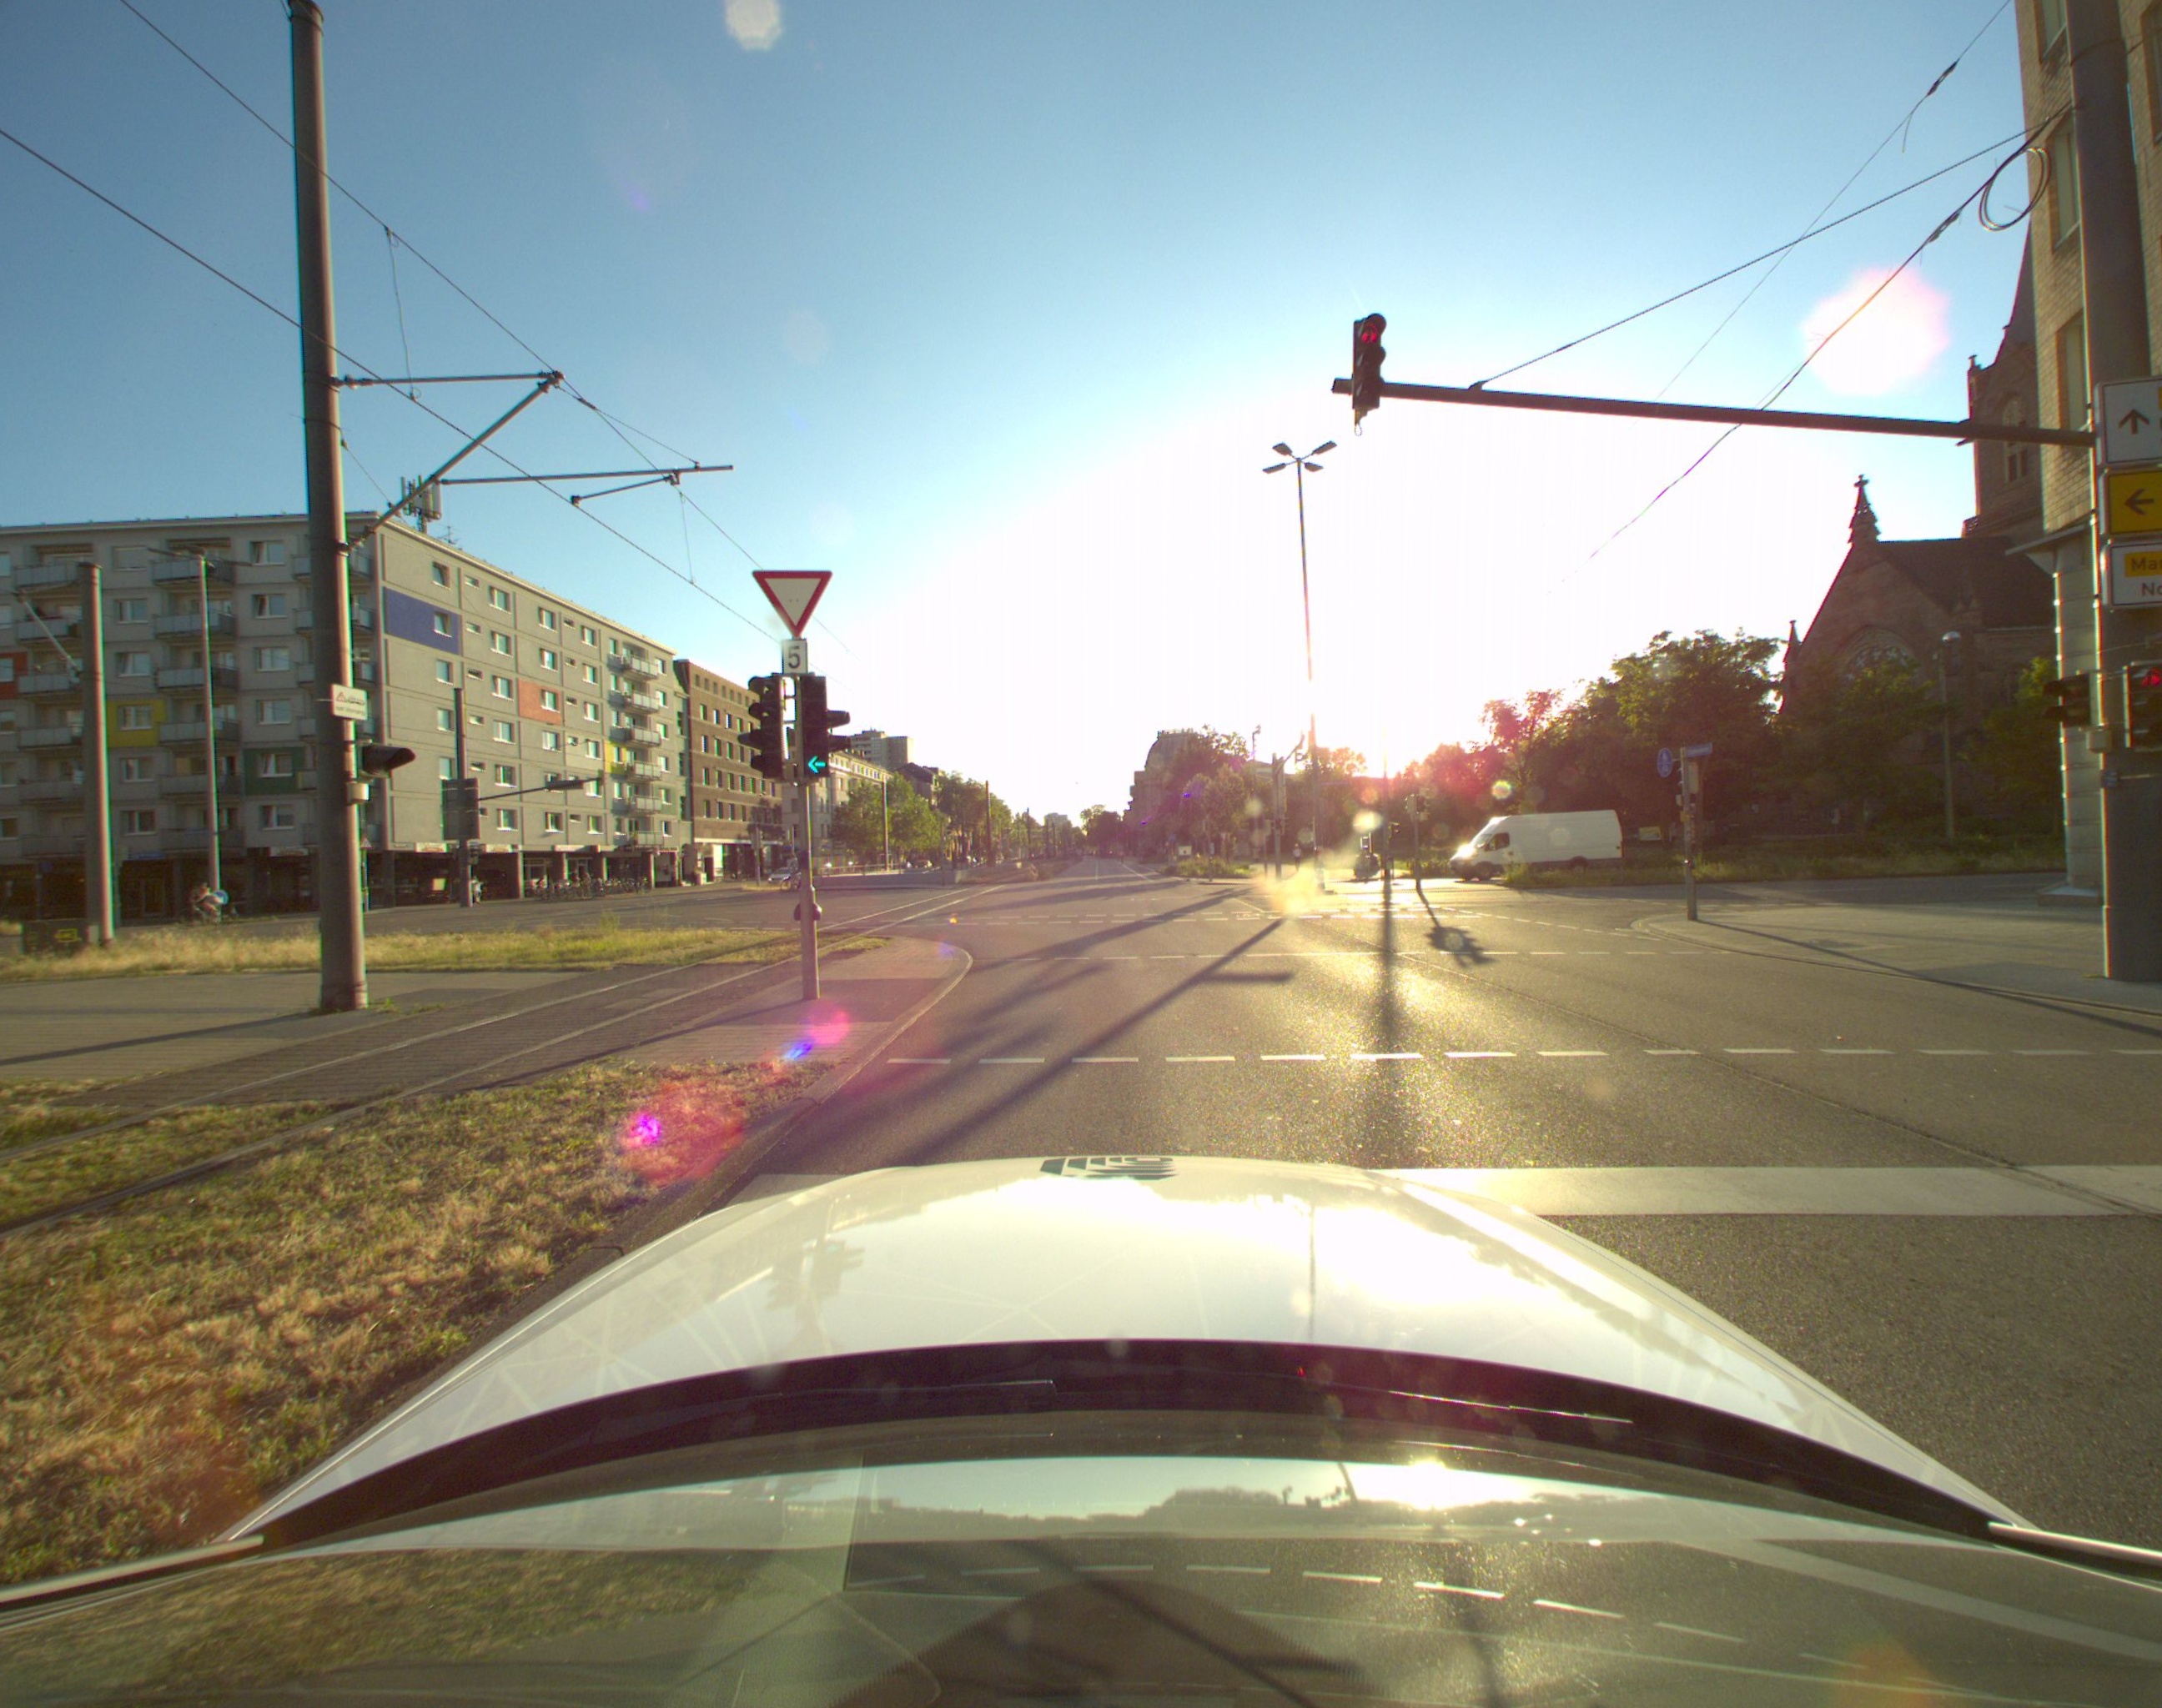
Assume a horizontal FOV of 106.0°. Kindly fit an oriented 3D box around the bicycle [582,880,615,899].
[{"bbox_3d":[-31.858,2.325,53.771,1.769,1.159,0.606,-2,0,1],"label":"bicycle"}]

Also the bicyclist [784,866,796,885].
[{"bbox_3d":[-27.142,1.996,75.863,0.697,1.742,0.794,-2,0,13],"label":"bicyclist"}]

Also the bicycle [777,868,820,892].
[{"bbox_3d":[-13.890,1.269,40.045,1.904,1.075,0.629,-2,0,-14],"label":"bicycle"}]

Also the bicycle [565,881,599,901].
[{"bbox_3d":[-31.287,2.299,51.073,1.759,1.167,0.540,-2,0,2],"label":"bicycle"}]

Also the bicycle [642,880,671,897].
[{"bbox_3d":[-30.828,2.496,59.165,1.683,1.144,0.697,-2,0,3],"label":"bicycle"}]

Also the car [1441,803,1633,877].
[{"bbox_3d":[19.579,-0.585,35.188,6.981,2.827,2.095,-2,0,3],"label":"car"}]

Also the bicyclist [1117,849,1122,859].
[{"bbox_3d":[7.571,0.008,159.732,0.922,2.013,0.851,-2,0,1],"label":"bicyclist"}]

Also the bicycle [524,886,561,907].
[{"bbox_3d":[-32.281,2.542,48.822,1.788,1.208,0.638,-2,0,0],"label":"bicycle"}]

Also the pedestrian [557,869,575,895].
[{"bbox_3d":[-35.714,1.939,56.464,0.826,1.813,0.719,-1,0,-9],"label":"pedestrian"}]

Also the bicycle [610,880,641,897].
[{"bbox_3d":[-31.106,2.345,55.581,1.754,1.119,0.568,-2,0,2],"label":"bicycle"}]

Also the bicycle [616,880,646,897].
[{"bbox_3d":[-31.048,2.362,56.219,1.719,1.124,0.634,-2,-1,3],"label":"bicycle"}]

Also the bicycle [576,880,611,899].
[{"bbox_3d":[-31.784,2.316,53.121,1.824,1.160,0.640,-2,0,1],"label":"bicycle"}]

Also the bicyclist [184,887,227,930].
[{"bbox_3d":[-30.254,1.878,28.155,0.494,1.426,0.862,-2,0,26],"label":"bicyclist"}]

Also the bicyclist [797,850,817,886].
[{"bbox_3d":[-14.181,0.729,42.127,0.878,1.818,0.535,-2,0,-16],"label":"bicyclist"}]

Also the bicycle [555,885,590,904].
[{"bbox_3d":[-31.528,2.507,50.505,1.750,1.139,0.600,-2,0,2],"label":"bicycle"}]

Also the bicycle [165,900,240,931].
[{"bbox_3d":[-30.278,2.112,28.092,0.503,0.944,1.678,-2,0,27],"label":"bicycle"}]

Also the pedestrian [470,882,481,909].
[{"bbox_3d":[-32.926,2.252,44.263,0.383,1.383,0.392,-2,0,-26],"label":"pedestrian"}]

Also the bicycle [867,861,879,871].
[{"bbox_3d":[-27.455,1.565,107.562,0.809,1.201,2.415,-2,0,4],"label":"bicycle"}]

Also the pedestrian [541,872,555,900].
[{"bbox_3d":[-33.121,1.972,50.616,0.580,1.684,0.543,-2,0,-17],"label":"pedestrian"}]

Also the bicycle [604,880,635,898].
[{"bbox_3d":[-31.142,2.338,54.995,1.748,1.117,0.552,-2,0,2],"label":"bicycle"}]

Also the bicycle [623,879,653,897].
[{"bbox_3d":[-30.952,2.374,56.897,1.683,1.153,0.706,-2,0,3],"label":"bicycle"}]

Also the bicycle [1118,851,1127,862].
[{"bbox_3d":[5.381,0.321,105.697,1.094,1.399,2.833,-2,0,2],"label":"bicycle"}]

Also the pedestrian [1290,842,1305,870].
[{"bbox_3d":[14.031,0.132,52.781,0.826,1.803,0.814,-2,0,17],"label":"pedestrian"}]

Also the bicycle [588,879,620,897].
[{"bbox_3d":[-31.853,2.271,54.376,1.764,1.136,0.606,-2,0,2],"label":"bicycle"}]

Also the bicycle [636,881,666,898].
[{"bbox_3d":[-30.840,2.538,58.431,1.683,1.170,0.749,-2,0,3],"label":"bicycle"}]

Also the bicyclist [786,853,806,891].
[{"bbox_3d":[-13.999,0.886,40.019,0.794,1.818,0.643,-2,0,-14],"label":"bicyclist"}]

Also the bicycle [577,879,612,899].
[{"bbox_3d":[-31.255,2.270,52.323,1.782,1.191,0.652,-2,0,1],"label":"bicycle"}]

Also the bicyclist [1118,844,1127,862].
[{"bbox_3d":[5.359,-0.143,105.656,1.078,2.276,0.986,-2,0,1],"label":"bicyclist"}]

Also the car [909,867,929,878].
[{"bbox_3d":[-23.710,2.658,119.270,1.810,1.420,4.006,-2,0,5],"label":"car"}]

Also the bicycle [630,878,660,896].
[{"bbox_3d":[-30.897,2.353,57.658,1.683,1.179,0.749,-2,0,3],"label":"bicycle"}]

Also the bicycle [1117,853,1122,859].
[{"bbox_3d":[7.580,0.427,159.826,0.921,1.111,2.334,-2,0,2],"label":"bicycle"}]

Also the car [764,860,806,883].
[{"bbox_3d":[-23.810,1.398,65.638,1.682,1.618,4.004,-3,0,3],"label":"car"}]

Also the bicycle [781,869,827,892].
[{"bbox_3d":[-14.294,1.363,42.089,2.168,1.083,0.536,-2,0,-16],"label":"bicycle"}]

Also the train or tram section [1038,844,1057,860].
[{"bbox_3d":[-8.393,-0.494,203.849,4.375,3.850,11.400,-2,0,-2],"label":"train or tram section"}]

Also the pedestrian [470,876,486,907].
[{"bbox_3d":[-32.487,2.024,43.883,0.575,1.620,0.598,-2,0,-29],"label":"pedestrian"}]

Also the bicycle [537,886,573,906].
[{"bbox_3d":[-32.199,2.566,49.856,1.770,1.142,0.608,-2,0,1],"label":"bicycle"}]

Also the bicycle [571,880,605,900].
[{"bbox_3d":[-31.266,2.280,51.678,1.762,1.182,0.568,-2,0,1],"label":"bicycle"}]

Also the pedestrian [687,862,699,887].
[{"bbox_3d":[-34.072,1.788,71.489,0.599,2.178,0.792,-2,0,1],"label":"pedestrian"}]

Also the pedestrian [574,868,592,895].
[{"bbox_3d":[-34.574,1.904,56.519,0.785,1.841,0.733,-2,0,-7],"label":"pedestrian"}]
